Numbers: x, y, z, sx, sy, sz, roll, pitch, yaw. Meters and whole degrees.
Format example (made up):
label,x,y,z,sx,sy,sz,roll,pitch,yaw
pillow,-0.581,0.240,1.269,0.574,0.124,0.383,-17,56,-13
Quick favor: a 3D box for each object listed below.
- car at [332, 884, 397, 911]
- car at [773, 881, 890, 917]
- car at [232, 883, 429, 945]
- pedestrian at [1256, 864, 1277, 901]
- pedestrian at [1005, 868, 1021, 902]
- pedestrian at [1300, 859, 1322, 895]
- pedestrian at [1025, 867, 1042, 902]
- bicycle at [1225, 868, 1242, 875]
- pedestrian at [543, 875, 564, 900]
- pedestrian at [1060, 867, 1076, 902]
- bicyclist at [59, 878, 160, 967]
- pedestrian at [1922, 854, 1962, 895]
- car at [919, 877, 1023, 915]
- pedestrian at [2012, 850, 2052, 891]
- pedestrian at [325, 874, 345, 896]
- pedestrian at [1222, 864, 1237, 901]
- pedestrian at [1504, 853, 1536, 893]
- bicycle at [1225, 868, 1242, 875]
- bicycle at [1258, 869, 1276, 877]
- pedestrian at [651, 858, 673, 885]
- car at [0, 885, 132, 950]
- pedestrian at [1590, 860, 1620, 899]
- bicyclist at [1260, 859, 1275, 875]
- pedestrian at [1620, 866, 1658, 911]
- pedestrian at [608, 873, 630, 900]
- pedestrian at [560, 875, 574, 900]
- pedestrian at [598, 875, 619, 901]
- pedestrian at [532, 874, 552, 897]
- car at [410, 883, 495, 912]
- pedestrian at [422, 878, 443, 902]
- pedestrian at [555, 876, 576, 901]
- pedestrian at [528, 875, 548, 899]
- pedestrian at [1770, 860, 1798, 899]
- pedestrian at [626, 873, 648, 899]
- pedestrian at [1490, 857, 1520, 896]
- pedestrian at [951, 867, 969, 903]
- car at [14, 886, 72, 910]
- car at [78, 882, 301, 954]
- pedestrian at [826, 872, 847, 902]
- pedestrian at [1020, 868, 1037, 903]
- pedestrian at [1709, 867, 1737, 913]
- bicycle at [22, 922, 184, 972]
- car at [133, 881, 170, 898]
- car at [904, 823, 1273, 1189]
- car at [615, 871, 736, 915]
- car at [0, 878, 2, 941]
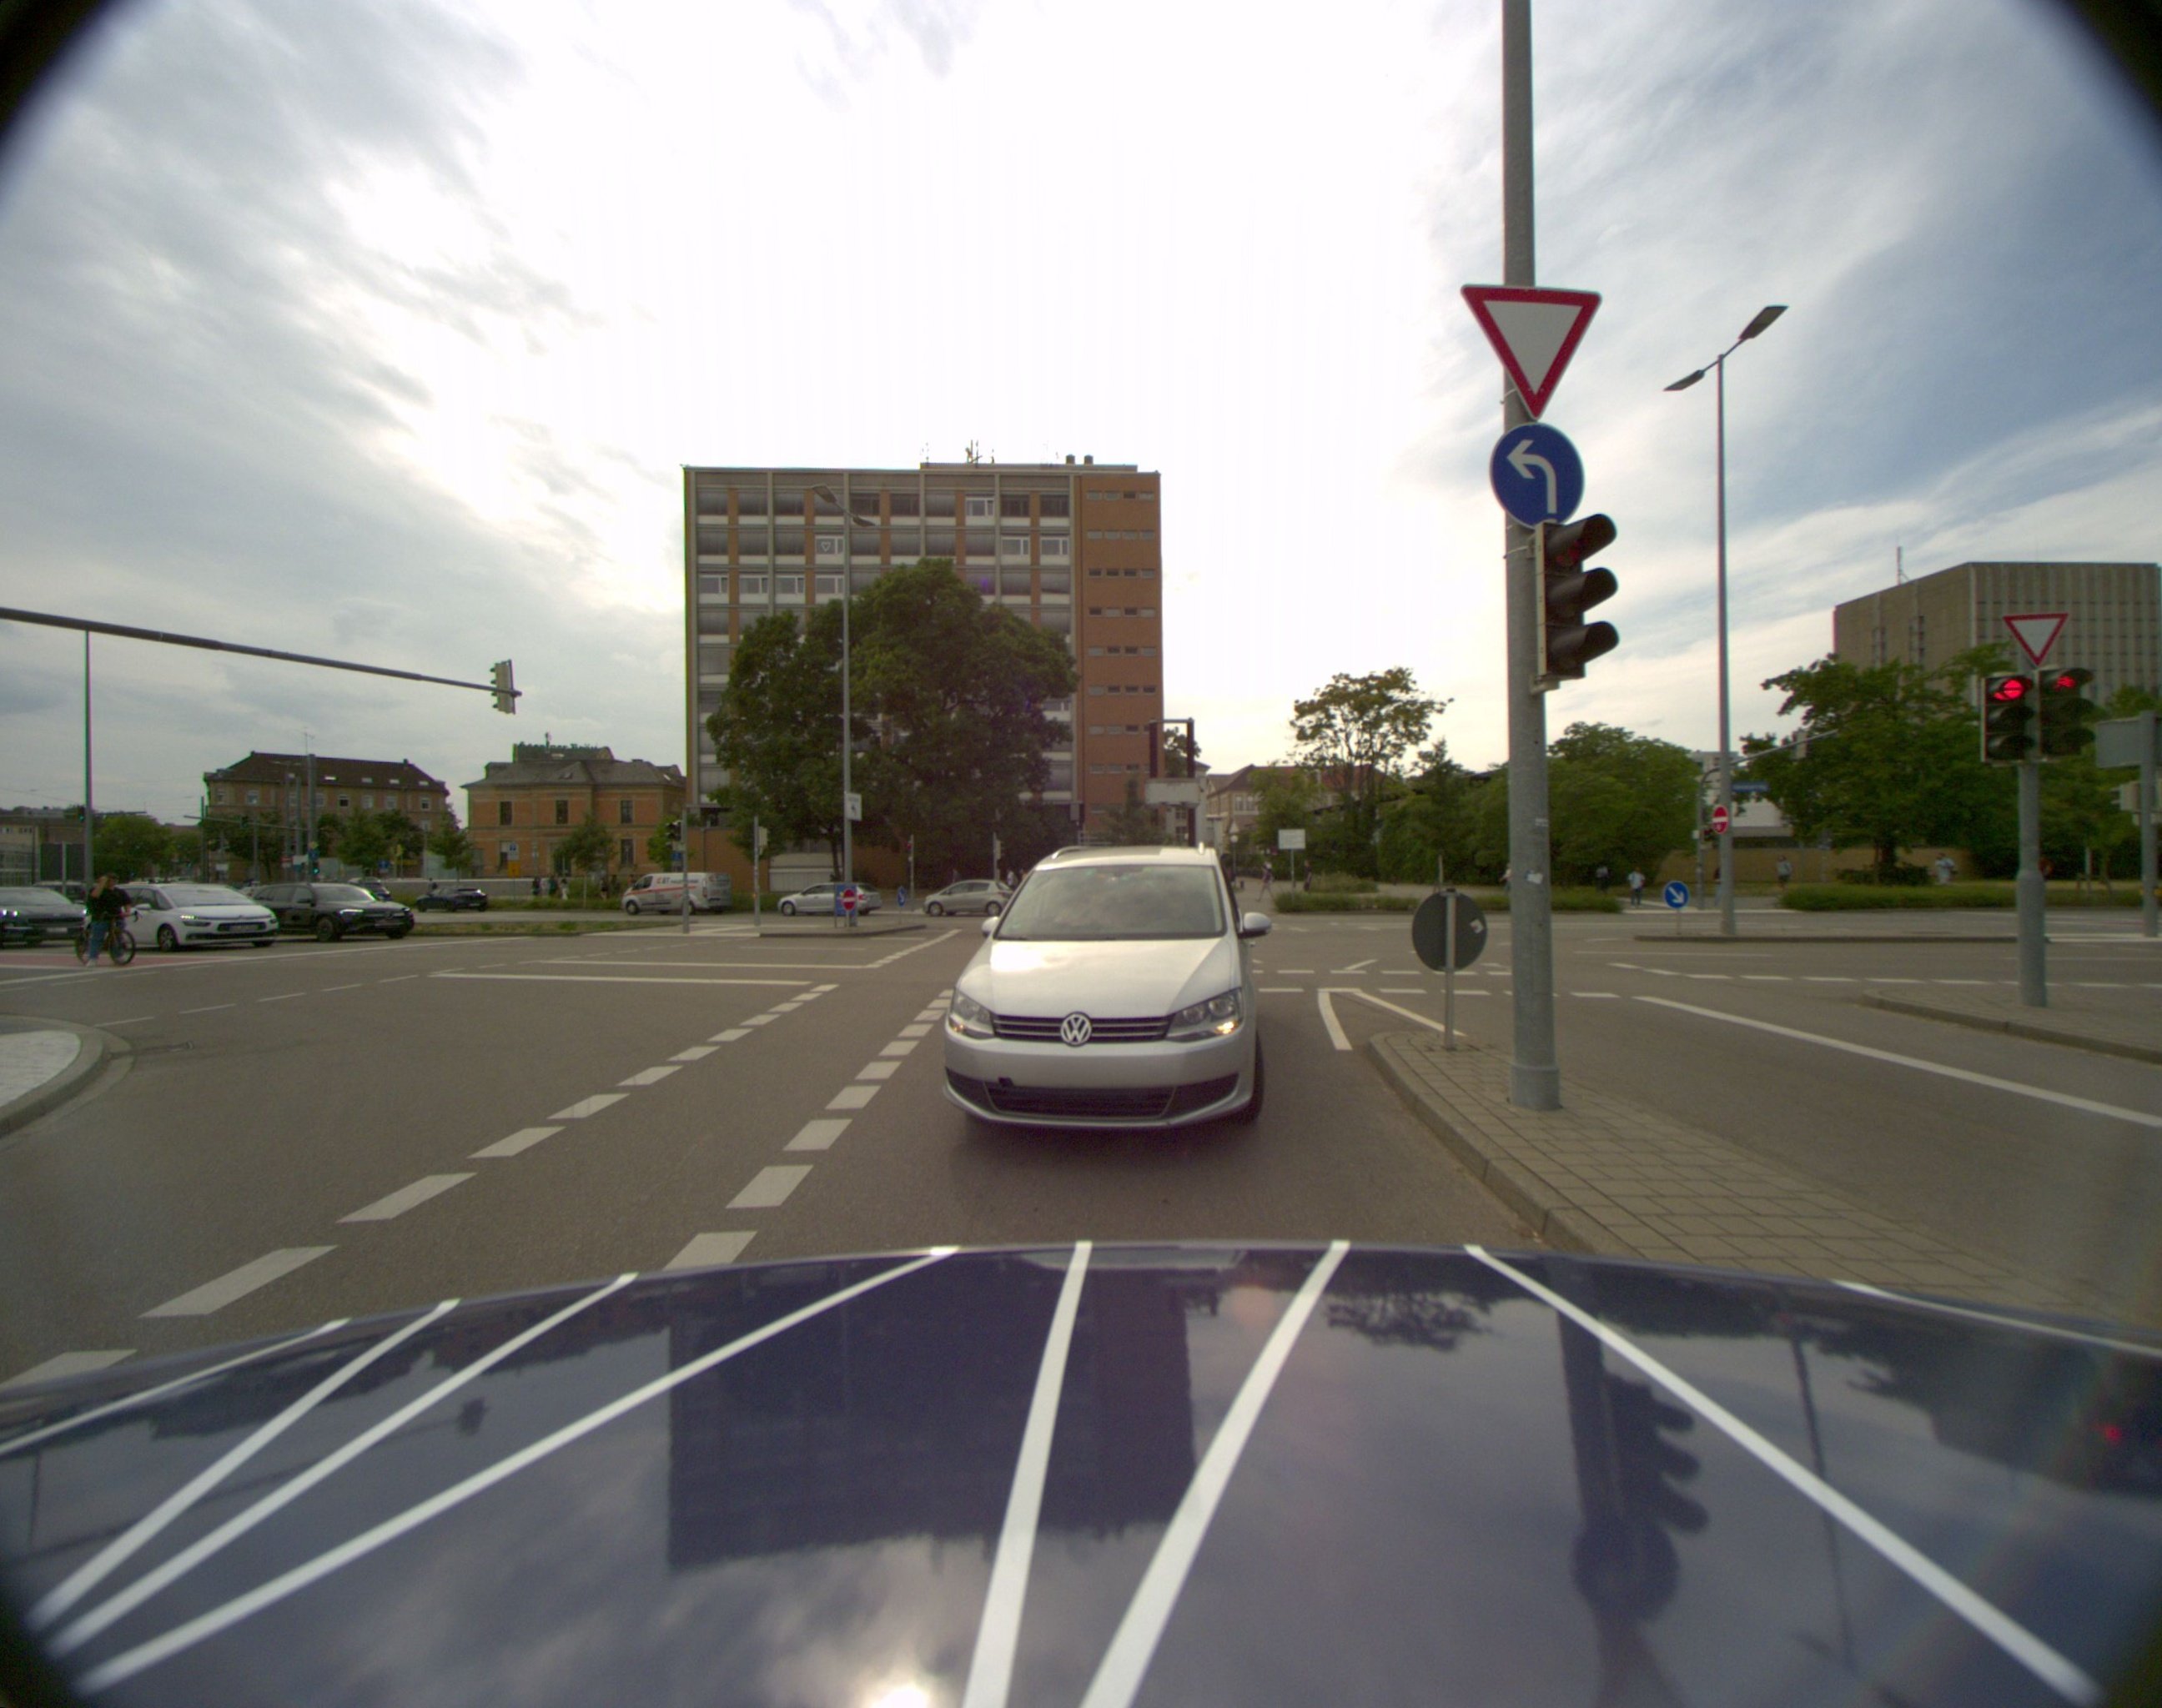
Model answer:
label,x,y,z,sx,sy,sz,roll,pitch,yaw
car,-42.531,2.585,45.097,3.625,1.498,1.675,-2,-2,26
car,-10.827,1.936,33.002,4.520,1.465,1.828,-2,-2,14
car,-21.212,1.673,21.526,4.503,1.640,2.003,-2,-2,16
pedestrian,8.655,1.321,35.469,0.799,1.700,0.840,-1,-2,5
pedestrian,-3.460,1.571,38.668,0.707,1.701,0.640,-1,0,5
pedestrian,10.919,1.109,36.107,0.799,1.700,0.840,-1,-2,5
pedestrian,-2.365,1.533,37.758,0.707,1.700,0.640,-1,-2,5
bicycle,17.079,1.953,85.048,1.842,0.689,0.653,-1,-2,10
pedestrian,-33.825,2.122,48.719,0.810,1.565,0.782,-1,1,28
pedestrian,-0.647,1.530,37.918,0.707,1.701,0.640,-1,2,5
bicyclist,-18.677,1.303,14.624,0.879,1.658,0.871,-1,-2,11
pedestrian,36.748,0.894,32.445,0.694,1.700,0.842,-1,-2,-1
car,-4.533,1.750,31.408,3.868,1.480,1.674,-2,-2,14
pedestrian,40.216,0.722,32.130,0.694,1.700,0.715,-1,-2,2
pedestrian,-54.018,2.233,55.039,0.810,1.565,0.782,-1,1,28
pedestrian,7.089,1.363,36.269,0.633,1.700,0.674,-1,-2,5
pedestrian,19.395,0.847,33.581,0.800,1.700,0.839,-1,-2,-13
bicycle,16.694,1.881,83.233,1.842,0.689,0.653,-1,-2,10
bicycle,15.755,1.599,64.255,0.841,0.689,1.849,-3,-3,37
pedestrian,-24.661,1.007,44.750,0.810,1.565,0.781,-1,1,24
car,-28.854,1.711,20.849,4.282,1.640,2.003,-2,-2,16
pedestrian,23.376,1.136,33.905,0.799,1.700,0.715,-1,-2,-1
bicyclist,15.780,1.096,64.306,0.837,1.269,1.015,-3,-3,37
pedestrian,21.771,1.348,29.655,0.838,1.700,0.800,-1,-2,7
pedestrian,-27.578,1.918,45.341,0.810,1.565,0.781,-1,1,24
pedestrian,-32.562,2.103,48.132,0.550,1.528,0.548,-2,1,-18
pedestrian,-29.279,2.101,47.068,0.810,1.565,0.782,-1,1,28
pedestrian,-38.114,2.237,53.736,0.810,1.565,0.782,-1,1,28
car,-34.417,2.390,41.631,3.993,1.523,1.867,-2,-2,21
pedestrian,-43.258,2.368,50.664,0.810,1.565,0.782,-1,1,28
pedestrian,-32.644,2.188,48.108,0.810,1.565,0.782,-1,1,28
pedestrian,-36.626,2.231,51.231,0.810,1.565,0.782,-1,1,28
pedestrian,30.499,1.103,32.950,0.694,1.686,0.544,-1,2,-1
pedestrian,-27.192,1.962,46.518,0.810,1.565,0.781,-1,1,24
pedestrian,19.197,1.022,34.405,0.800,1.700,0.839,-1,-2,-13
pedestrian,-6.240,1.599,39.151,0.707,1.841,0.640,-1,0,5
car,-72.800,3.087,53.272,4.674,1.640,1.764,-2,-3,29
car,-22.145,1.555,18.921,4.282,1.640,2.003,-2,-2,16
pedestrian,-13.332,1.788,41.501,0.811,1.565,0.780,-1,1,5
pedestrian,-2.538,1.523,36.987,0.707,1.701,0.640,-1,1,5
pedestrian,24.142,1.352,28.571,0.587,1.700,0.481,-1,-2,7
bicycle,-18.827,1.785,14.638,2.515,0.871,0.866,-1,-2,11
car,-88.589,3.402,72.417,3.537,1.605,1.845,-3,-3,34
car,0.394,0.826,5.989,1.822,1.723,4.534,-1,-2,10
car,-18.922,1.820,35.505,5.194,1.947,1.828,-2,-2,17
car,-35.166,1.712,22.743,4.282,1.886,2.003,-2,-2,16
